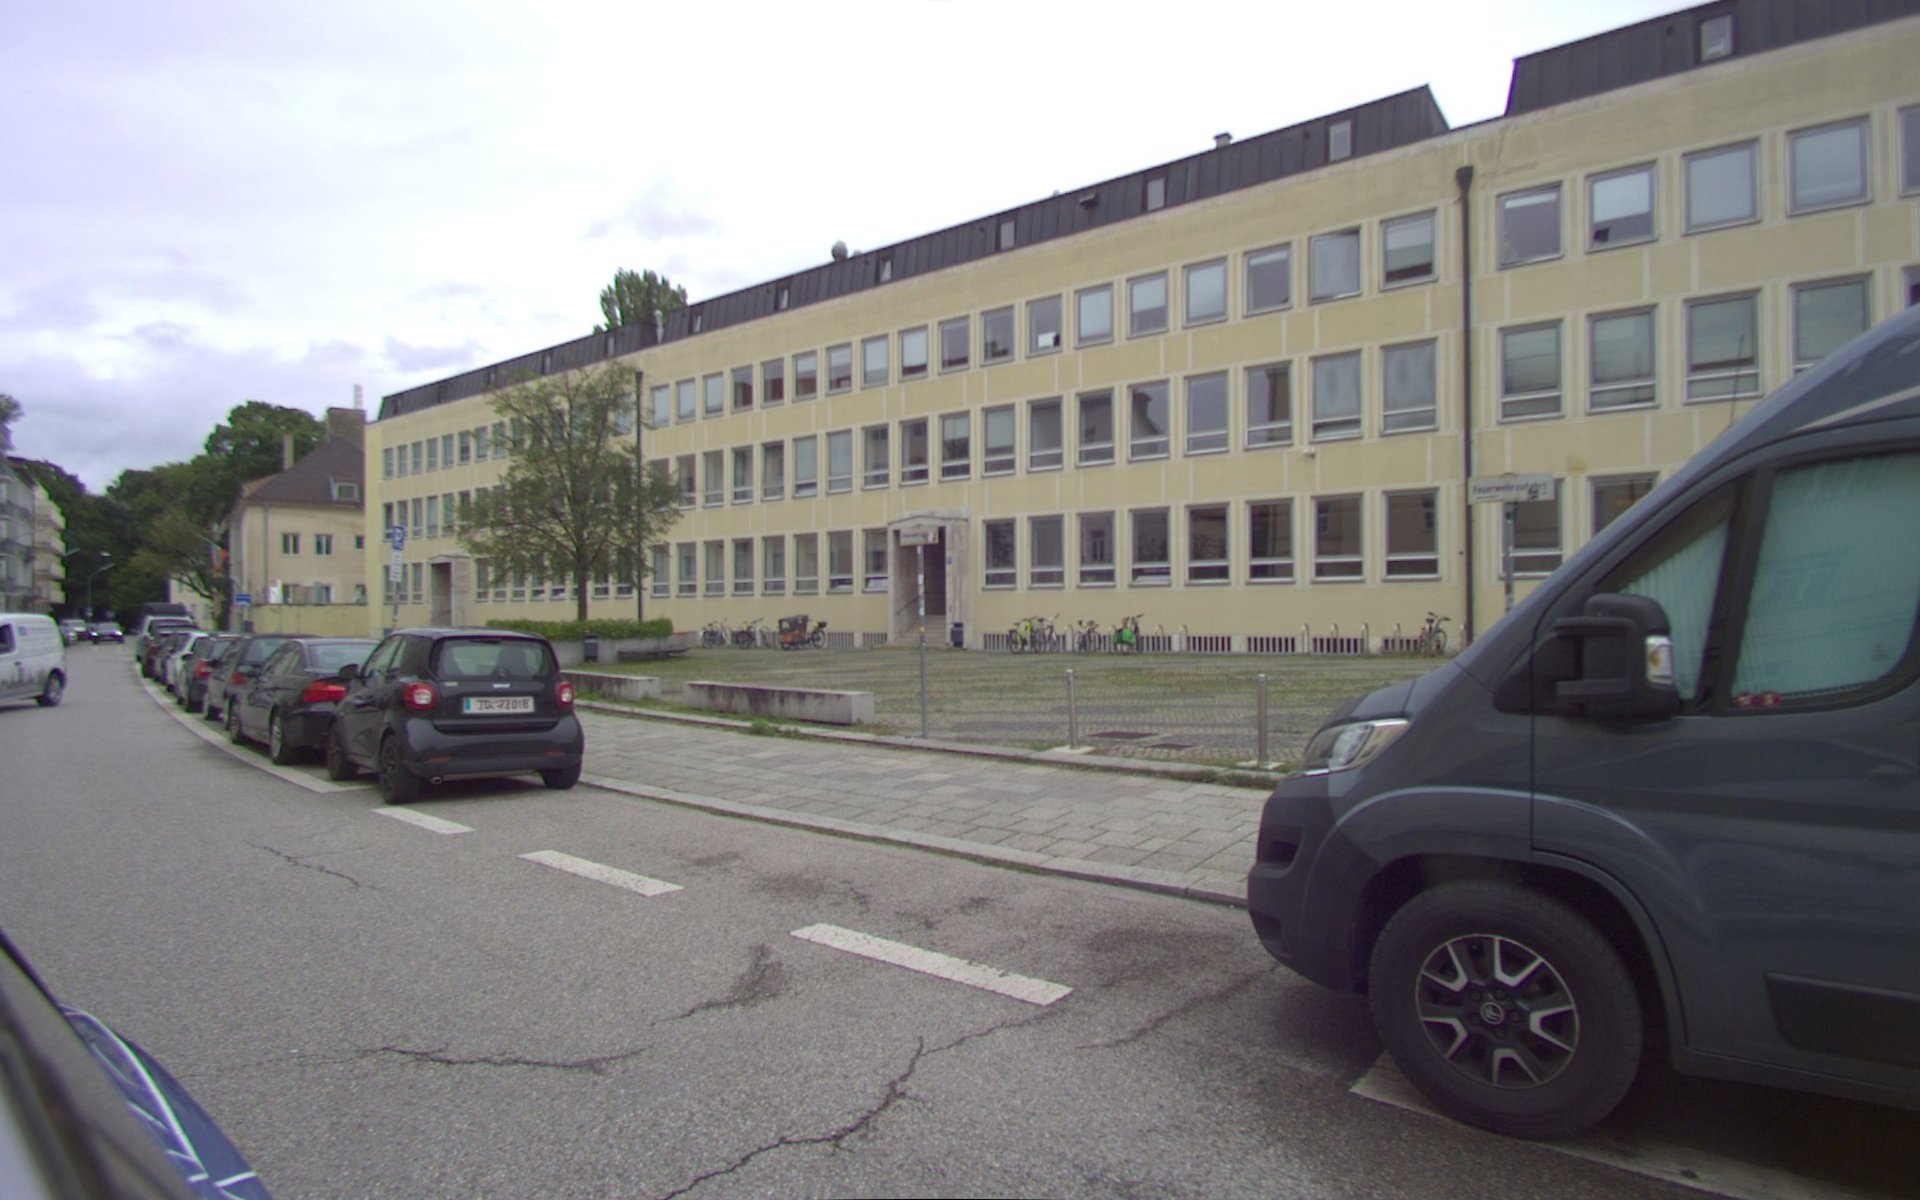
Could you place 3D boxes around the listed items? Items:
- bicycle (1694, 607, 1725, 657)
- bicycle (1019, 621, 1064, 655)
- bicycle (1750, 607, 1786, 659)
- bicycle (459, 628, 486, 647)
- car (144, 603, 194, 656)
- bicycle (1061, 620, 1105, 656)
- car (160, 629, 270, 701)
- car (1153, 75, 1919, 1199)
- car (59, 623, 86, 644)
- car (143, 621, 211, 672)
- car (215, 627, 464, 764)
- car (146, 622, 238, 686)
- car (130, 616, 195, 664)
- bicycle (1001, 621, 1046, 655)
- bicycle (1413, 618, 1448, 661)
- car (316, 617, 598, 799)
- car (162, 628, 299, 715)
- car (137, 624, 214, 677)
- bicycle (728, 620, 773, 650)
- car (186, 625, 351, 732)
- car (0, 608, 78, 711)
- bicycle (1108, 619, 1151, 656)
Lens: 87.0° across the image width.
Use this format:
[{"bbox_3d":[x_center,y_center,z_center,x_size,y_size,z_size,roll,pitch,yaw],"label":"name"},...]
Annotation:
[{"bbox_3d":[15.632,0.651,21.130,0.437,0.923,1.885,-2,1,35],"label":"bicycle"},{"bbox_3d":[2.490,1.130,30.658,0.437,0.923,1.885,-2,1,35],"label":"bicycle"},{"bbox_3d":[16.280,0.645,20.405,0.532,0.947,1.860,-1,1,38],"label":"bicycle"},{"bbox_3d":[-25.017,1.900,51.920,0.288,0.909,1.229,-2,1,35],"label":"bicycle"},{"bbox_3d":[-42.539,1.557,54.393,1.968,2.738,4.968,1,-2,-39],"label":"car"},{"bbox_3d":[3.653,1.110,29.863,0.437,0.923,1.885,-2,1,35],"label":"bicycle"},{"bbox_3d":[-17.709,1.472,23.997,1.700,1.541,4.005,2,-2,-42],"label":"car"},{"bbox_3d":[3.743,0.121,2.343,6.201,2.594,2.124,-1,-2,37],"label":"car"},{"bbox_3d":[-80.945,3.052,92.315,1.614,1.749,3.887,-2,1,-39],"label":"car"},{"bbox_3d":[-28.256,1.639,36.482,1.718,1.701,4.129,2,-2,-41],"label":"car"},{"bbox_3d":[-7.790,1.061,12.530,1.701,1.374,4.216,4,-3,-44],"label":"car"},{"bbox_3d":[-21.678,1.451,28.513,1.719,1.557,4.088,-2,1,-42],"label":"car"},{"bbox_3d":[-34.515,1.695,43.771,1.920,1.991,4.361,2,-2,-42],"label":"car"},{"bbox_3d":[1.964,1.153,31.032,0.437,0.923,1.885,-2,1,35],"label":"bicycle"},{"bbox_3d":[11.459,0.941,24.634,0.437,0.923,1.885,-2,1,35],"label":"bicycle"},{"bbox_3d":[-4.954,0.930,9.836,1.647,1.471,2.870,3,-3,-43],"label":"car"},{"bbox_3d":[-14.311,1.307,19.768,1.700,1.492,4.210,2,-2,-42],"label":"car"},{"bbox_3d":[-24.800,1.550,31.958,1.719,1.478,3.691,-2,1,-41],"label":"car"},{"bbox_3d":[-8.078,1.329,39.101,0.574,1.036,1.816,-2,1,34],"label":"bicycle"},{"bbox_3d":[-11.251,1.172,16.368,1.700,1.492,3.759,2,-2,-42],"label":"car"},{"bbox_3d":[-17.911,1.037,18.079,1.853,1.785,4.941,1,-1,-24],"label":"car"},{"bbox_3d":[4.861,1.061,28.961,0.437,0.923,1.885,-2,1,35],"label":"bicycle"}]
